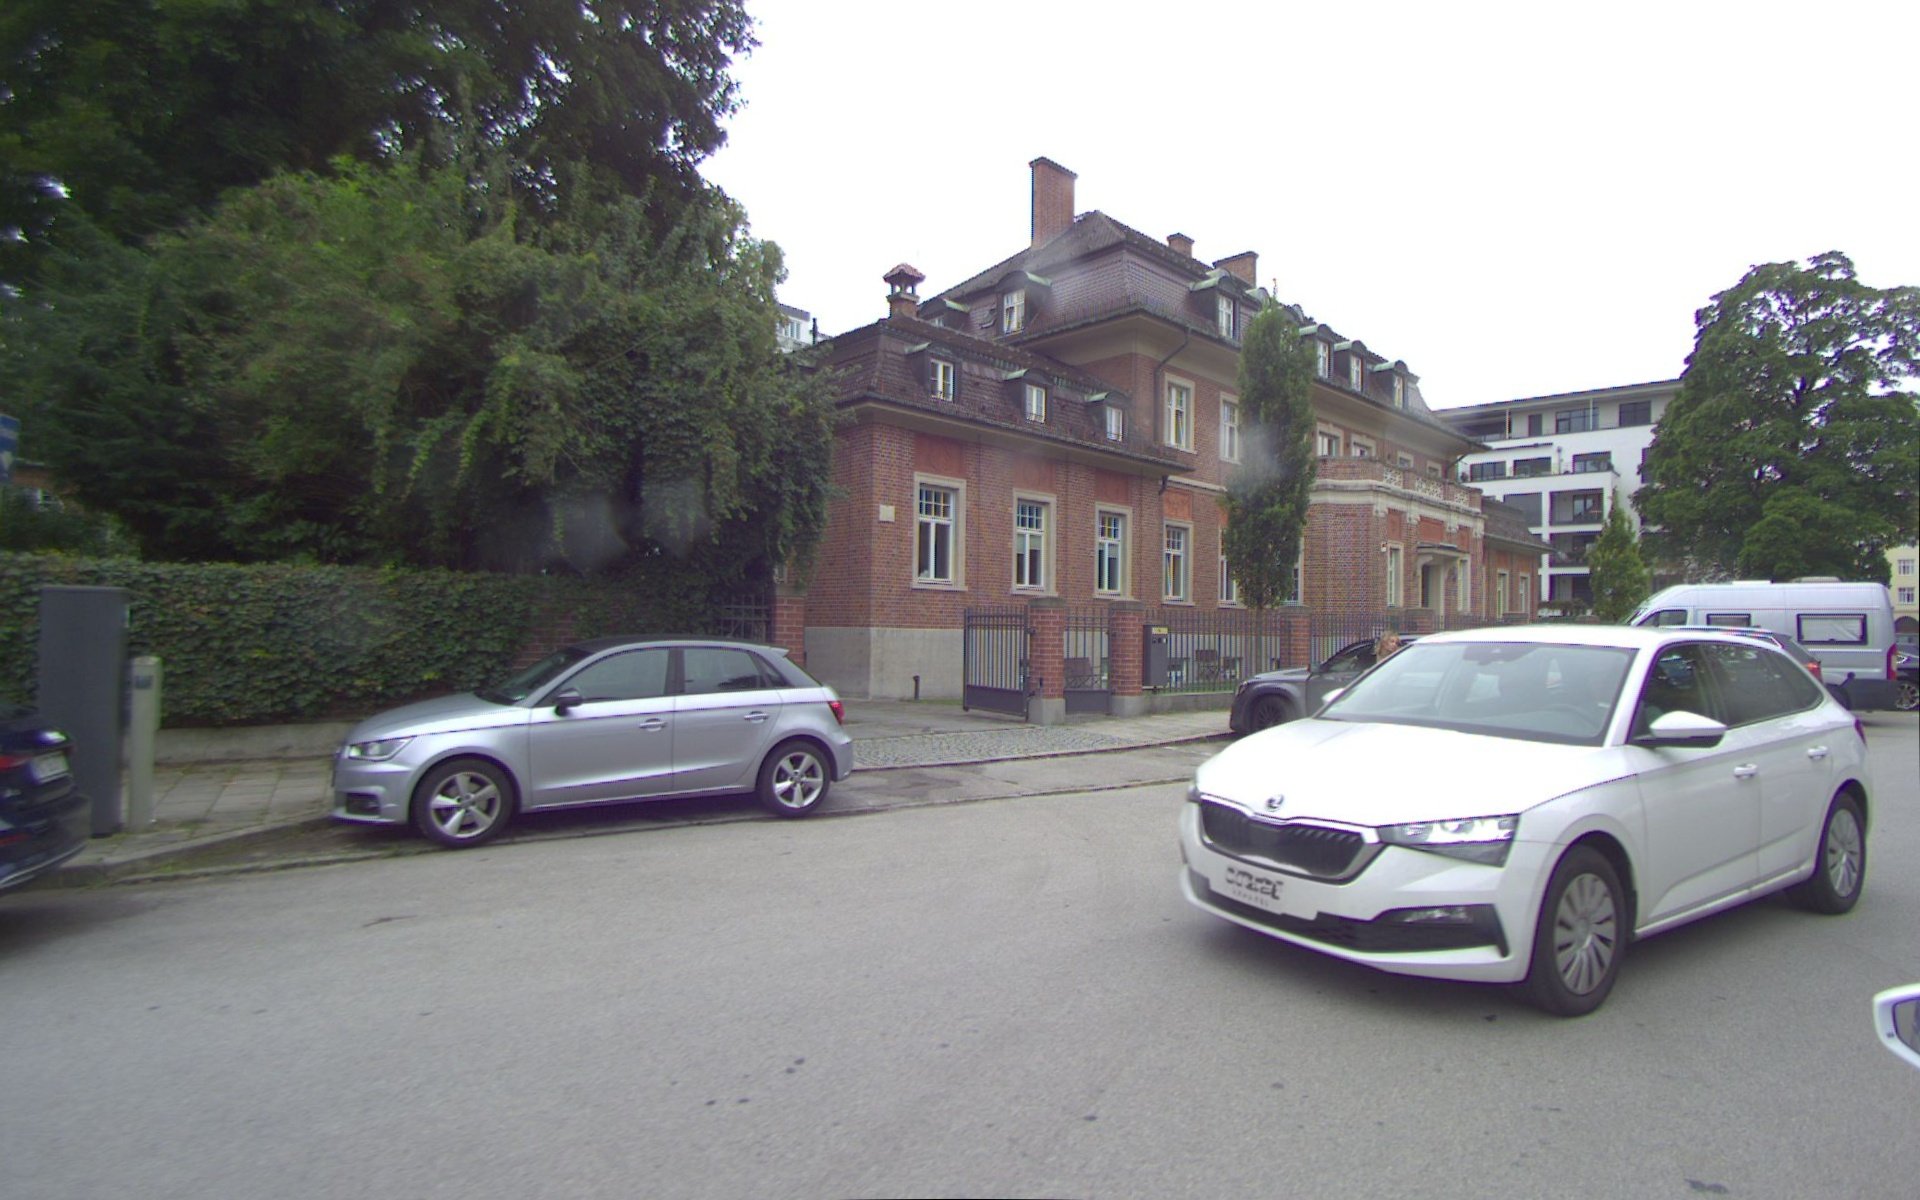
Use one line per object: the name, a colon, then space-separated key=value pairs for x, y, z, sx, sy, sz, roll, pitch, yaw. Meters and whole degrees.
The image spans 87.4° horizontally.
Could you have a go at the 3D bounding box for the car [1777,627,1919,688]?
car: x=26.635 y=1.649 z=28.848 sx=4.439 sy=1.686 sz=1.988 roll=-1 pitch=-3 yaw=21

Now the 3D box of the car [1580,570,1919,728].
car: x=14.278 y=0.887 z=18.581 sx=4.552 sy=2.597 sz=2.231 roll=-2 pitch=-2 yaw=28

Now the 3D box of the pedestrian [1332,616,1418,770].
pedestrian: x=4.693 y=1.035 z=11.361 sx=0.707 sy=1.669 sz=0.586 roll=2 pitch=-3 yaw=-35

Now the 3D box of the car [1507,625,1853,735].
car: x=11.788 y=1.312 z=16.908 sx=4.444 sy=1.646 sz=1.965 roll=-2 pitch=-4 yaw=28

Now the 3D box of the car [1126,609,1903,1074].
car: x=2.964 y=0.841 z=5.110 sx=4.089 sy=1.494 sz=1.762 roll=2 pitch=-2 yaw=-33

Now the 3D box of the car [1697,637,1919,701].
car: x=20.897 y=1.659 z=24.408 sx=4.439 sy=1.470 sz=1.820 roll=-2 pitch=-3 yaw=21

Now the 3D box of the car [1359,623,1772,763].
car: x=7.886 y=1.183 z=13.573 sx=4.444 sy=1.614 sz=1.963 roll=-2 pitch=-3 yaw=28

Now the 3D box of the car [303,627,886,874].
car: x=-2.819 y=1.045 z=8.175 sx=4.100 sy=1.555 sz=1.733 roll=1 pitch=-4 yaw=-31

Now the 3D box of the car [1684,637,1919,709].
car: x=19.020 y=1.581 z=22.283 sx=4.441 sy=1.470 sz=1.976 roll=-2 pitch=-2 yaw=24

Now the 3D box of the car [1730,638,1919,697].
car: x=23.006 y=1.733 z=26.003 sx=4.439 sy=1.436 sz=1.928 roll=-2 pitch=-3 yaw=21

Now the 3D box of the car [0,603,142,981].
car: x=-6.244 y=0.807 z=3.869 sx=4.508 sy=1.555 sz=1.837 roll=1 pitch=-4 yaw=-31

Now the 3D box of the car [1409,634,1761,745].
car: x=9.414 y=1.326 z=15.540 sx=4.343 sy=1.506 sz=1.831 roll=-2 pitch=-4 yaw=29

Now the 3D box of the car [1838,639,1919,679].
car: x=35.963 y=2.181 z=37.474 sx=4.426 sy=1.470 sz=1.898 roll=-1 pitch=-2 yaw=17

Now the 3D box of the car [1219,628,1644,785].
car: x=5.525 y=1.142 z=12.198 sx=1.920 sy=1.549 sz=4.292 roll=4 pitch=-3 yaw=-42
